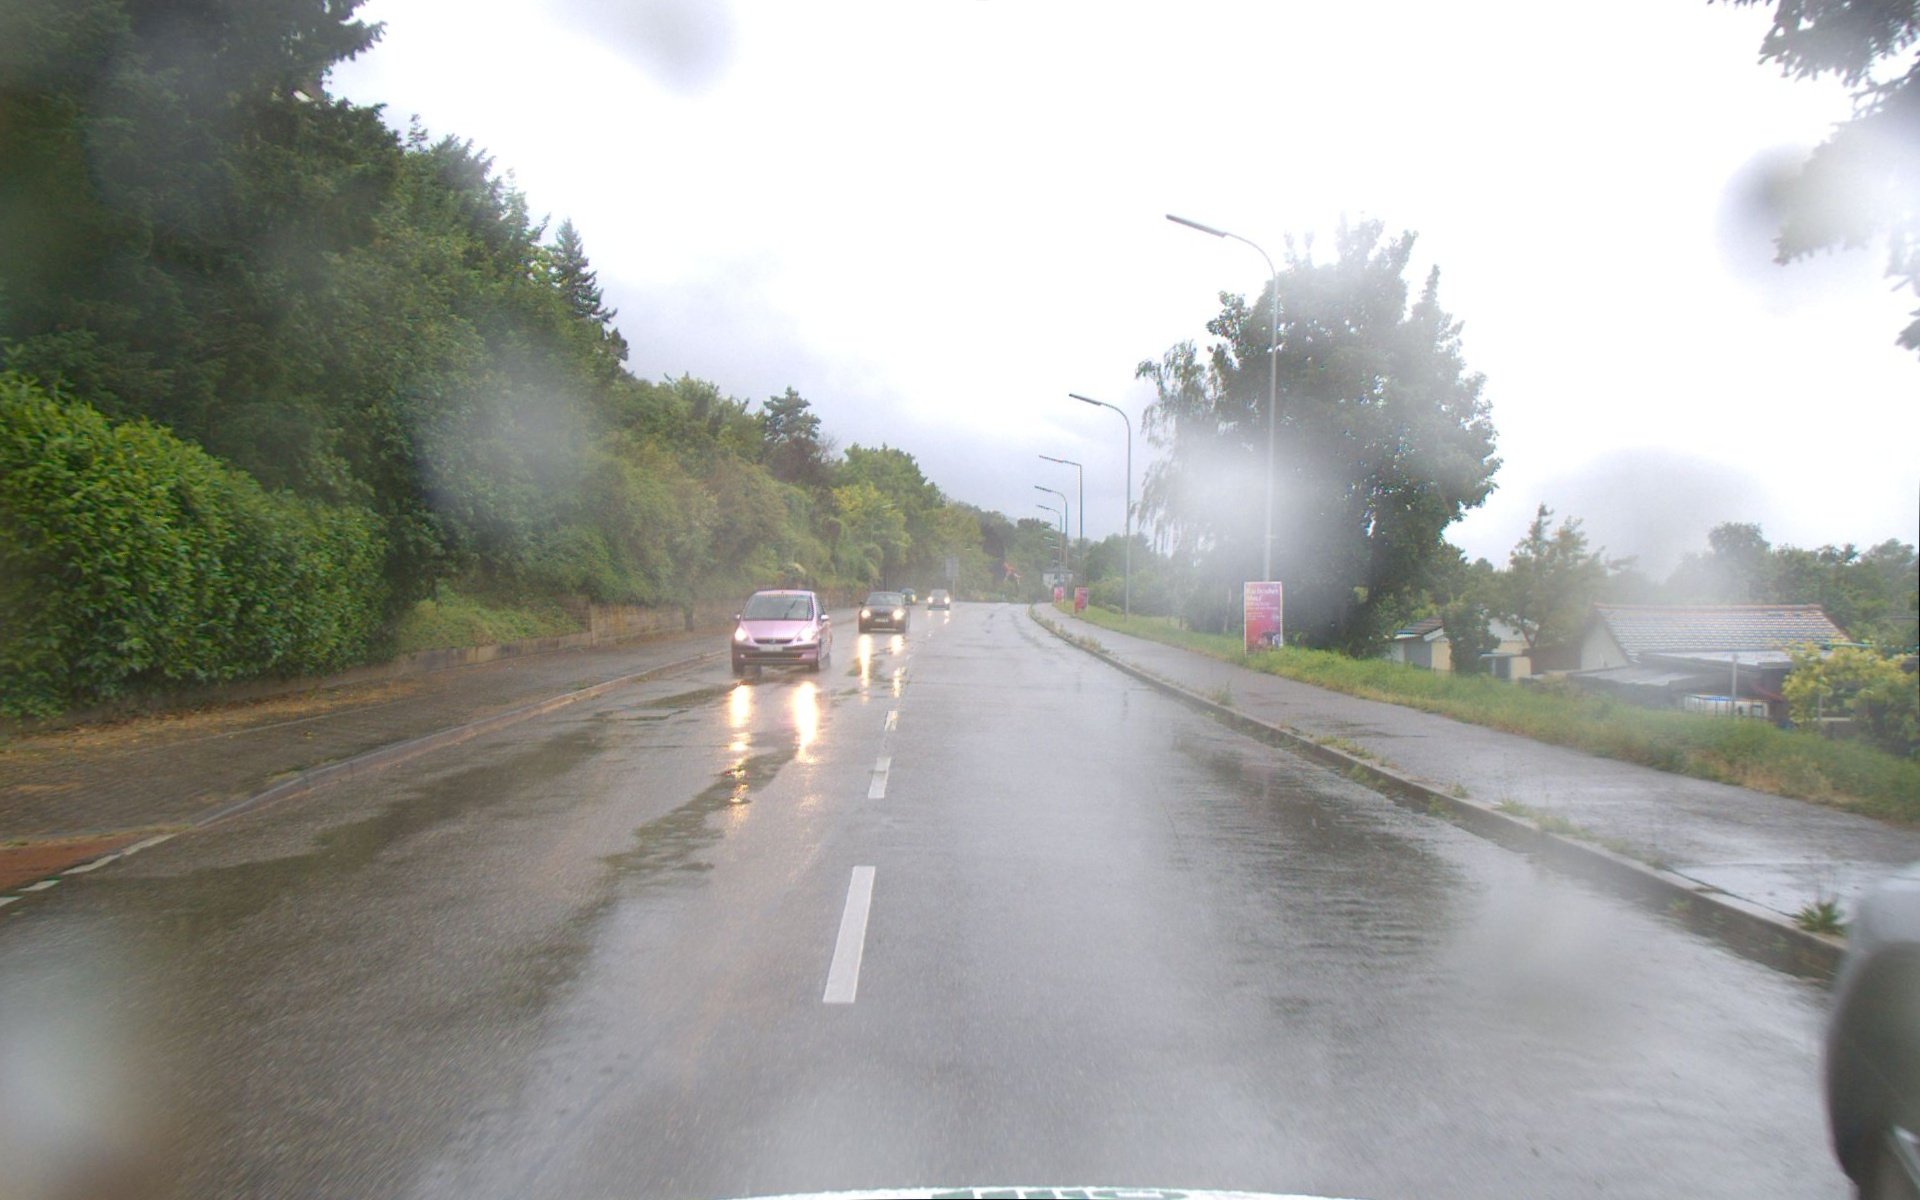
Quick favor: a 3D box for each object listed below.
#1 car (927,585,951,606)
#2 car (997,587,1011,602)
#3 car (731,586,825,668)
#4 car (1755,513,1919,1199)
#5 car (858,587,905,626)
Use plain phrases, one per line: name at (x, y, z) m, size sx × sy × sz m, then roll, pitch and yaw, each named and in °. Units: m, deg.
car at (-1.577, -0.326, 124.190) m, size 1.724 × 1.522 × 4.126 m, roll 0°, pitch 0°, yaw -1°
car at (6.319, -0.788, 239.032) m, size 1.952 × 2.049 × 4.000 m, roll 1°, pitch 0°, yaw 1°
car at (-3.477, 0.482, 32.080) m, size 1.629 × 1.486 × 3.659 m, roll 0°, pitch 0°, yaw -4°
car at (2.807, 0.678, 1.693) m, size 1.779 × 1.674 × 4.394 m, roll 0°, pitch 0°, yaw -2°
car at (-2.808, 0.226, 59.875) m, size 1.621 × 1.375 × 3.986 m, roll 0°, pitch 0°, yaw -2°
